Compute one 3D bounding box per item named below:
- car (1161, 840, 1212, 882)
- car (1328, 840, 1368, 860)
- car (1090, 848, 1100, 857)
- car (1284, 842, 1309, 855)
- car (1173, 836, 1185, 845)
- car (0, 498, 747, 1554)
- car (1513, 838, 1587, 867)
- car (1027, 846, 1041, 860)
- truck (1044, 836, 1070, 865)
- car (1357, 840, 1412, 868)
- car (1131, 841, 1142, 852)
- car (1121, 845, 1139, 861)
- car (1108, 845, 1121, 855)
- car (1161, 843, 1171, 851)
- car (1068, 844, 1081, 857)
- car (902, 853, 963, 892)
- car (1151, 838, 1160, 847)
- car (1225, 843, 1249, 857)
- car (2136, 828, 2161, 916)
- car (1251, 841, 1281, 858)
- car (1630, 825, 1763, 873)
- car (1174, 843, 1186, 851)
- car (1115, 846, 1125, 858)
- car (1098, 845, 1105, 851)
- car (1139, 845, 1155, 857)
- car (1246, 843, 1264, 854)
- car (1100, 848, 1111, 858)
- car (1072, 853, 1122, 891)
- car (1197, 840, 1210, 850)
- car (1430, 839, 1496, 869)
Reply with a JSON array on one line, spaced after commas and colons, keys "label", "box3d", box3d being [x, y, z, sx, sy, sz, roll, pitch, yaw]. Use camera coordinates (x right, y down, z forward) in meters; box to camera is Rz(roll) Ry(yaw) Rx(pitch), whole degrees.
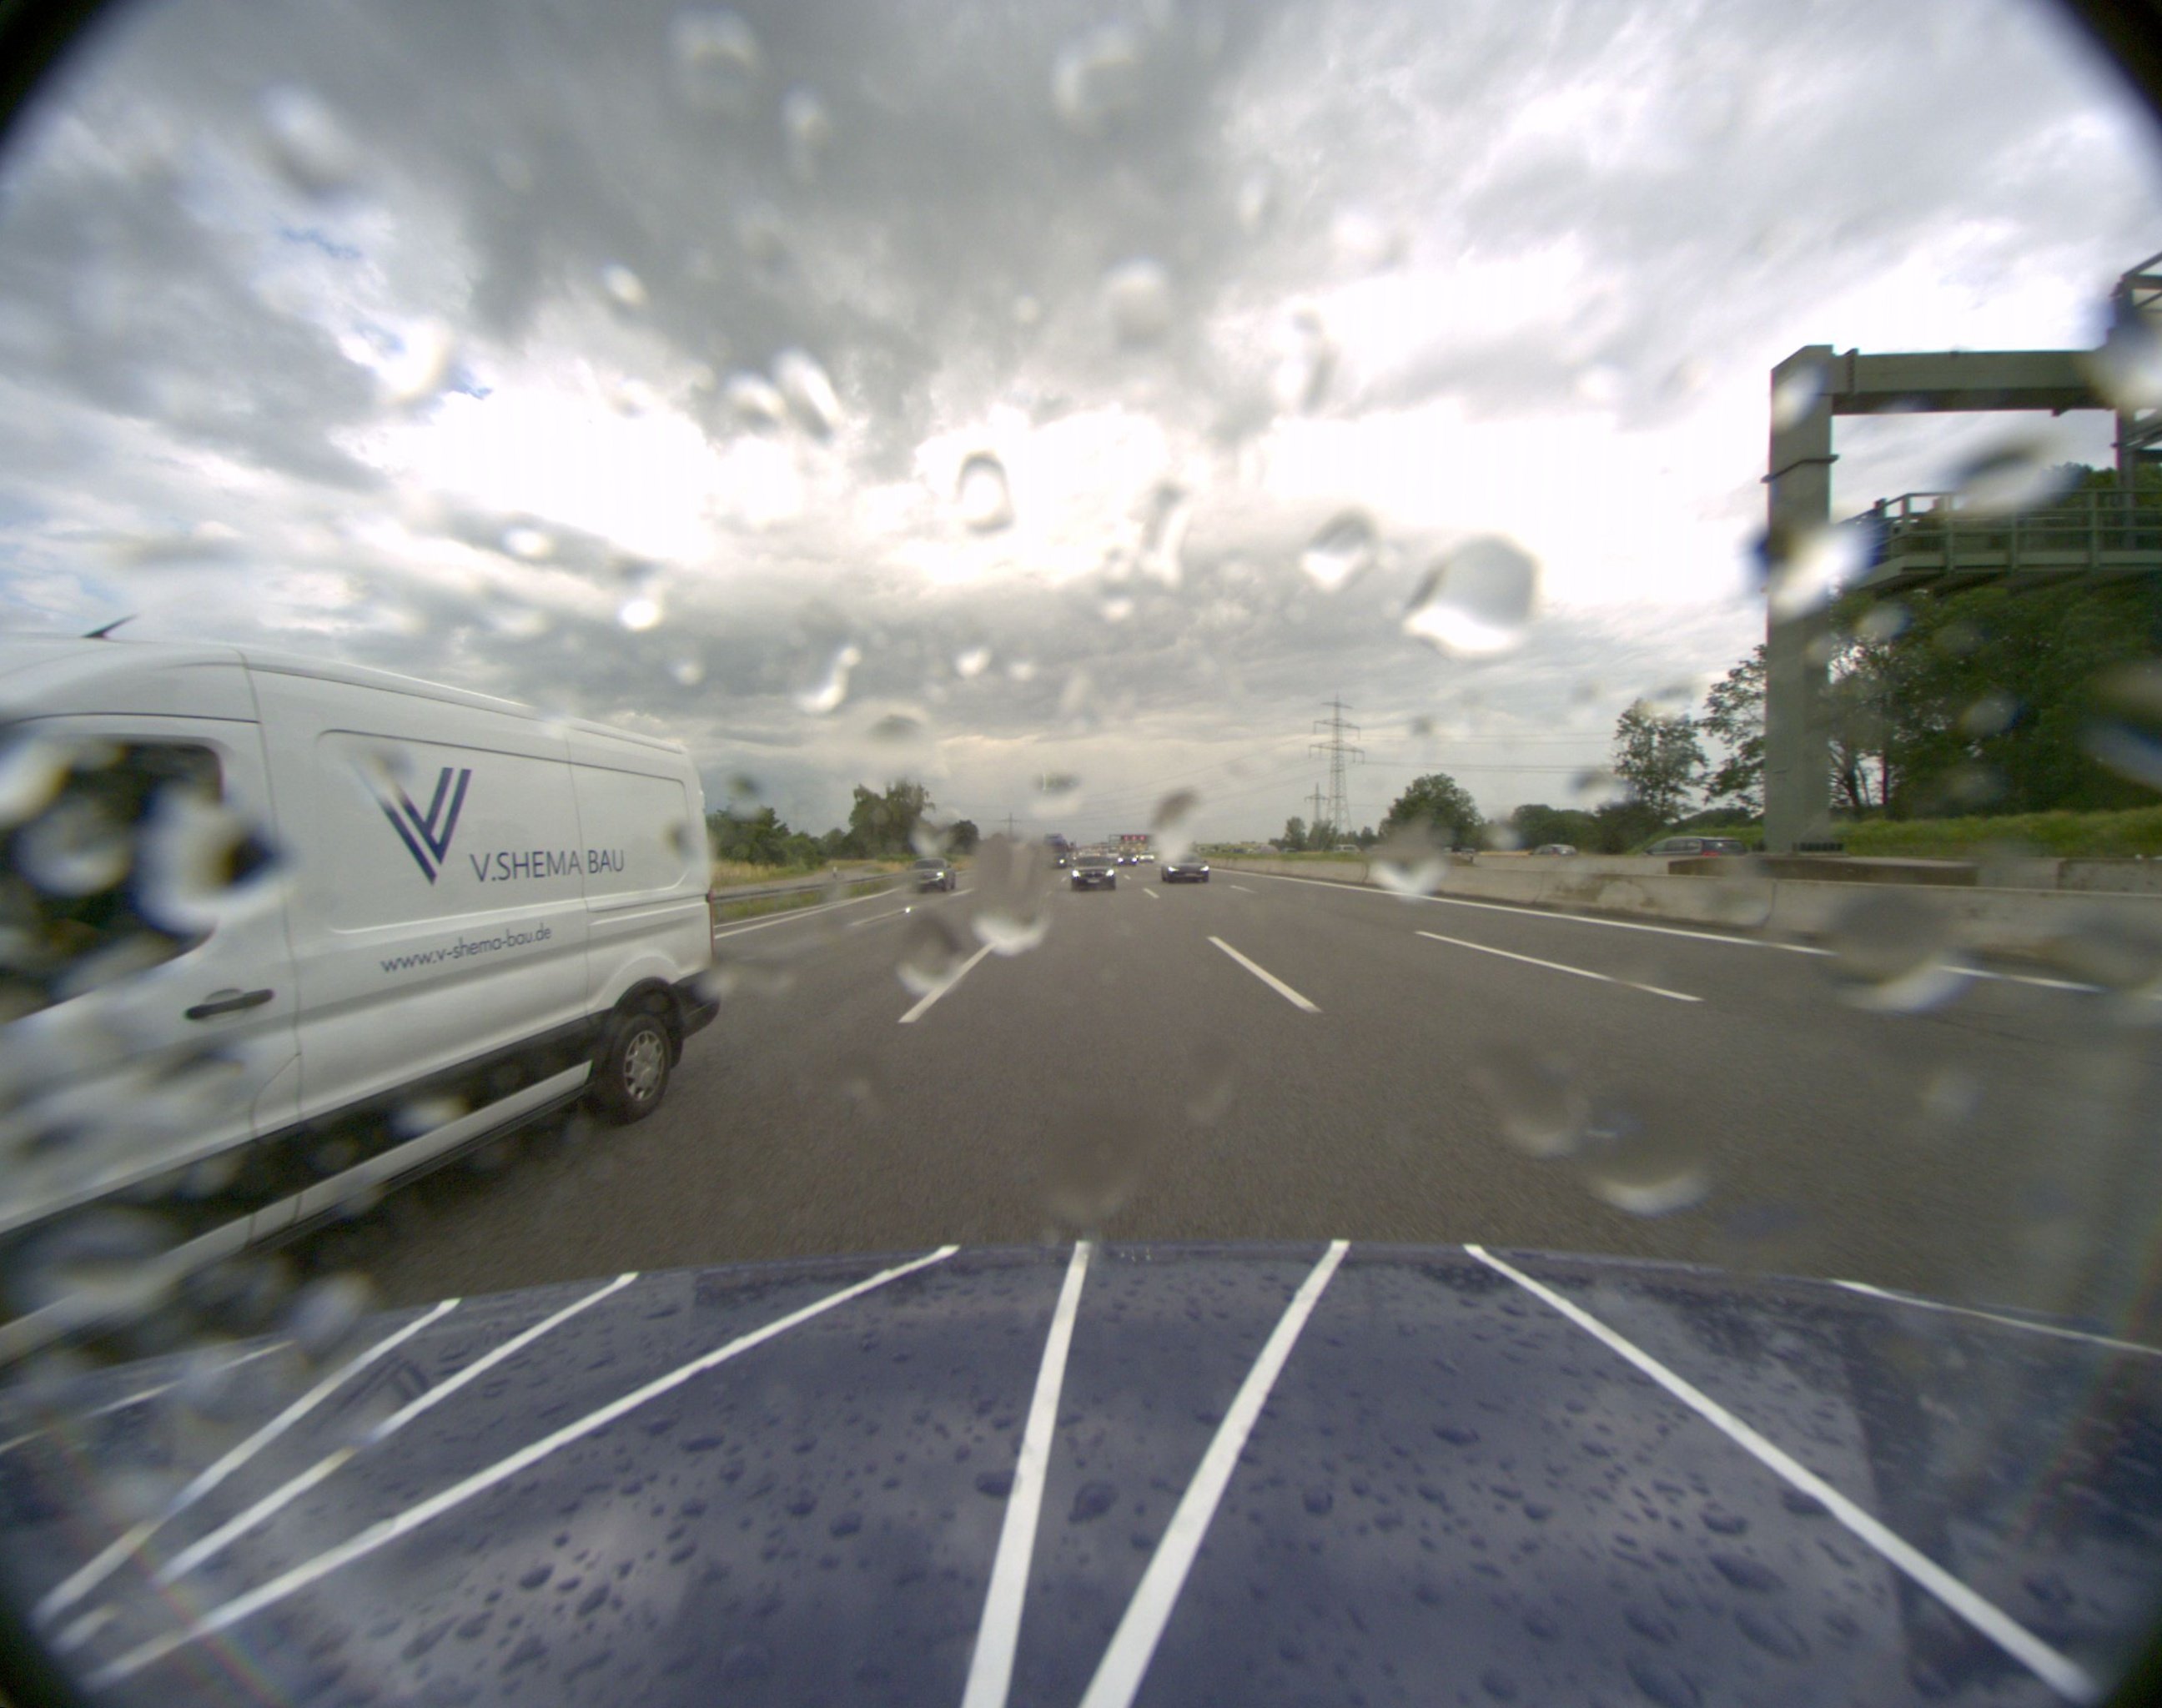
[{"label": "car", "box3d": [4.959, 0.271, 36.405, 1.998, 1.810, 5.163, -2, 1, 4]}, {"label": "car", "box3d": [23.134, -0.356, 66.093, 1.785, 1.687, 4.351, -2, 1, -2]}, {"label": "car", "box3d": [3.037, -0.354, 166.996, 1.998, 1.810, 5.162, -2, 1, 2]}, {"label": "car", "box3d": [23.595, -0.586, 83.174, 1.639, 1.403, 3.755, -2, 1, 1]}, {"label": "car", "box3d": [24.280, -3.317, 188.452, 2.078, 1.959, 4.952, -2, 1, 0]}, {"label": "car", "box3d": [-3.606, 0.411, 2.804, 2.145, 2.486, 5.447, -2, 1, 1]}, {"label": "car", "box3d": [26.417, -0.091, 42.955, 1.758, 1.489, 4.017, -2, 1, 0]}, {"label": "car", "box3d": [-7.227, -0.160, 117.832, 1.836, 2.002, 3.862, -2, 1, 0]}, {"label": "truck", "box3d": [-2.398, -0.374, 77.421, 2.391, 2.726, 6.593, -2, 1, 0]}, {"label": "car", "box3d": [18.825, -0.022, 47.265, 1.801, 1.605, 3.999, -2, 1, 0]}, {"label": "car", "box3d": [9.111, -1.229, 124.175, 1.710, 1.621, 4.001, -2, 1, 4]}, {"label": "car", "box3d": [5.132, -0.087, 79.357, 1.710, 1.562, 4.347, -2, 1, 4]}, {"label": "car", "box3d": [5.071, -0.568, 116.225, 1.806, 1.424, 3.999, -2, 1, 0]}, {"label": "car", "box3d": [19.911, -1.610, 178.139, 1.824, 1.721, 3.999, -2, 1, 0]}, {"label": "car", "box3d": [-1.106, -0.535, 123.176, 1.998, 2.002, 5.050, -2, 1, 0]}, {"label": "car", "box3d": [-6.752, 0.797, 35.017, 1.999, 1.632, 4.629, -1, 0, -2]}, {"label": "car", "box3d": [19.913, -3.062, 203.709, 1.824, 2.112, 3.999, -2, 1, 0]}, {"label": "car", "box3d": [19.158, -0.538, 93.445, 1.785, 1.603, 4.351, -2, 1, -2]}, {"label": "car", "box3d": [22.018, 0.345, 13.130, 1.998, 1.717, 4.017, -2, 1, 0]}, {"label": "car", "box3d": [18.820, -0.459, 77.545, 1.785, 1.687, 4.501, -2, 1, -2]}, {"label": "car", "box3d": [24.113, -0.208, 29.973, 1.998, 1.717, 4.017, -2, 1, 0]}, {"label": "car", "box3d": [18.654, -1.346, 143.332, 1.824, 1.403, 3.999, -2, 1, 0]}, {"label": "car", "box3d": [8.708, -0.510, 169.525, 2.144, 2.486, 5.449, -2, 1, 5]}, {"label": "car", "box3d": [6.137, -1.727, 226.876, 1.998, 1.801, 4.273, -1, 1, 1]}, {"label": "car", "box3d": [8.713, -0.410, 100.149, 1.822, 1.565, 4.000, -2, 1, 1]}, {"label": "car", "box3d": [23.307, -0.748, 101.914, 1.467, 1.403, 3.595, -2, 1, 0]}, {"label": "car", "box3d": [4.762, -0.213, 146.576, 1.998, 1.810, 5.162, -2, 1, 1]}, {"label": "car", "box3d": [0.645, 0.703, 31.567, 1.923, 1.407, 4.000, -1, 0, 1]}, {"label": "car", "box3d": [23.464, -1.712, 145.807, 1.824, 1.897, 3.999, -2, 1, 0]}, {"label": "car", "box3d": [23.119, -0.017, 46.189, 1.998, 1.717, 4.017, -2, 1, 0]}]
